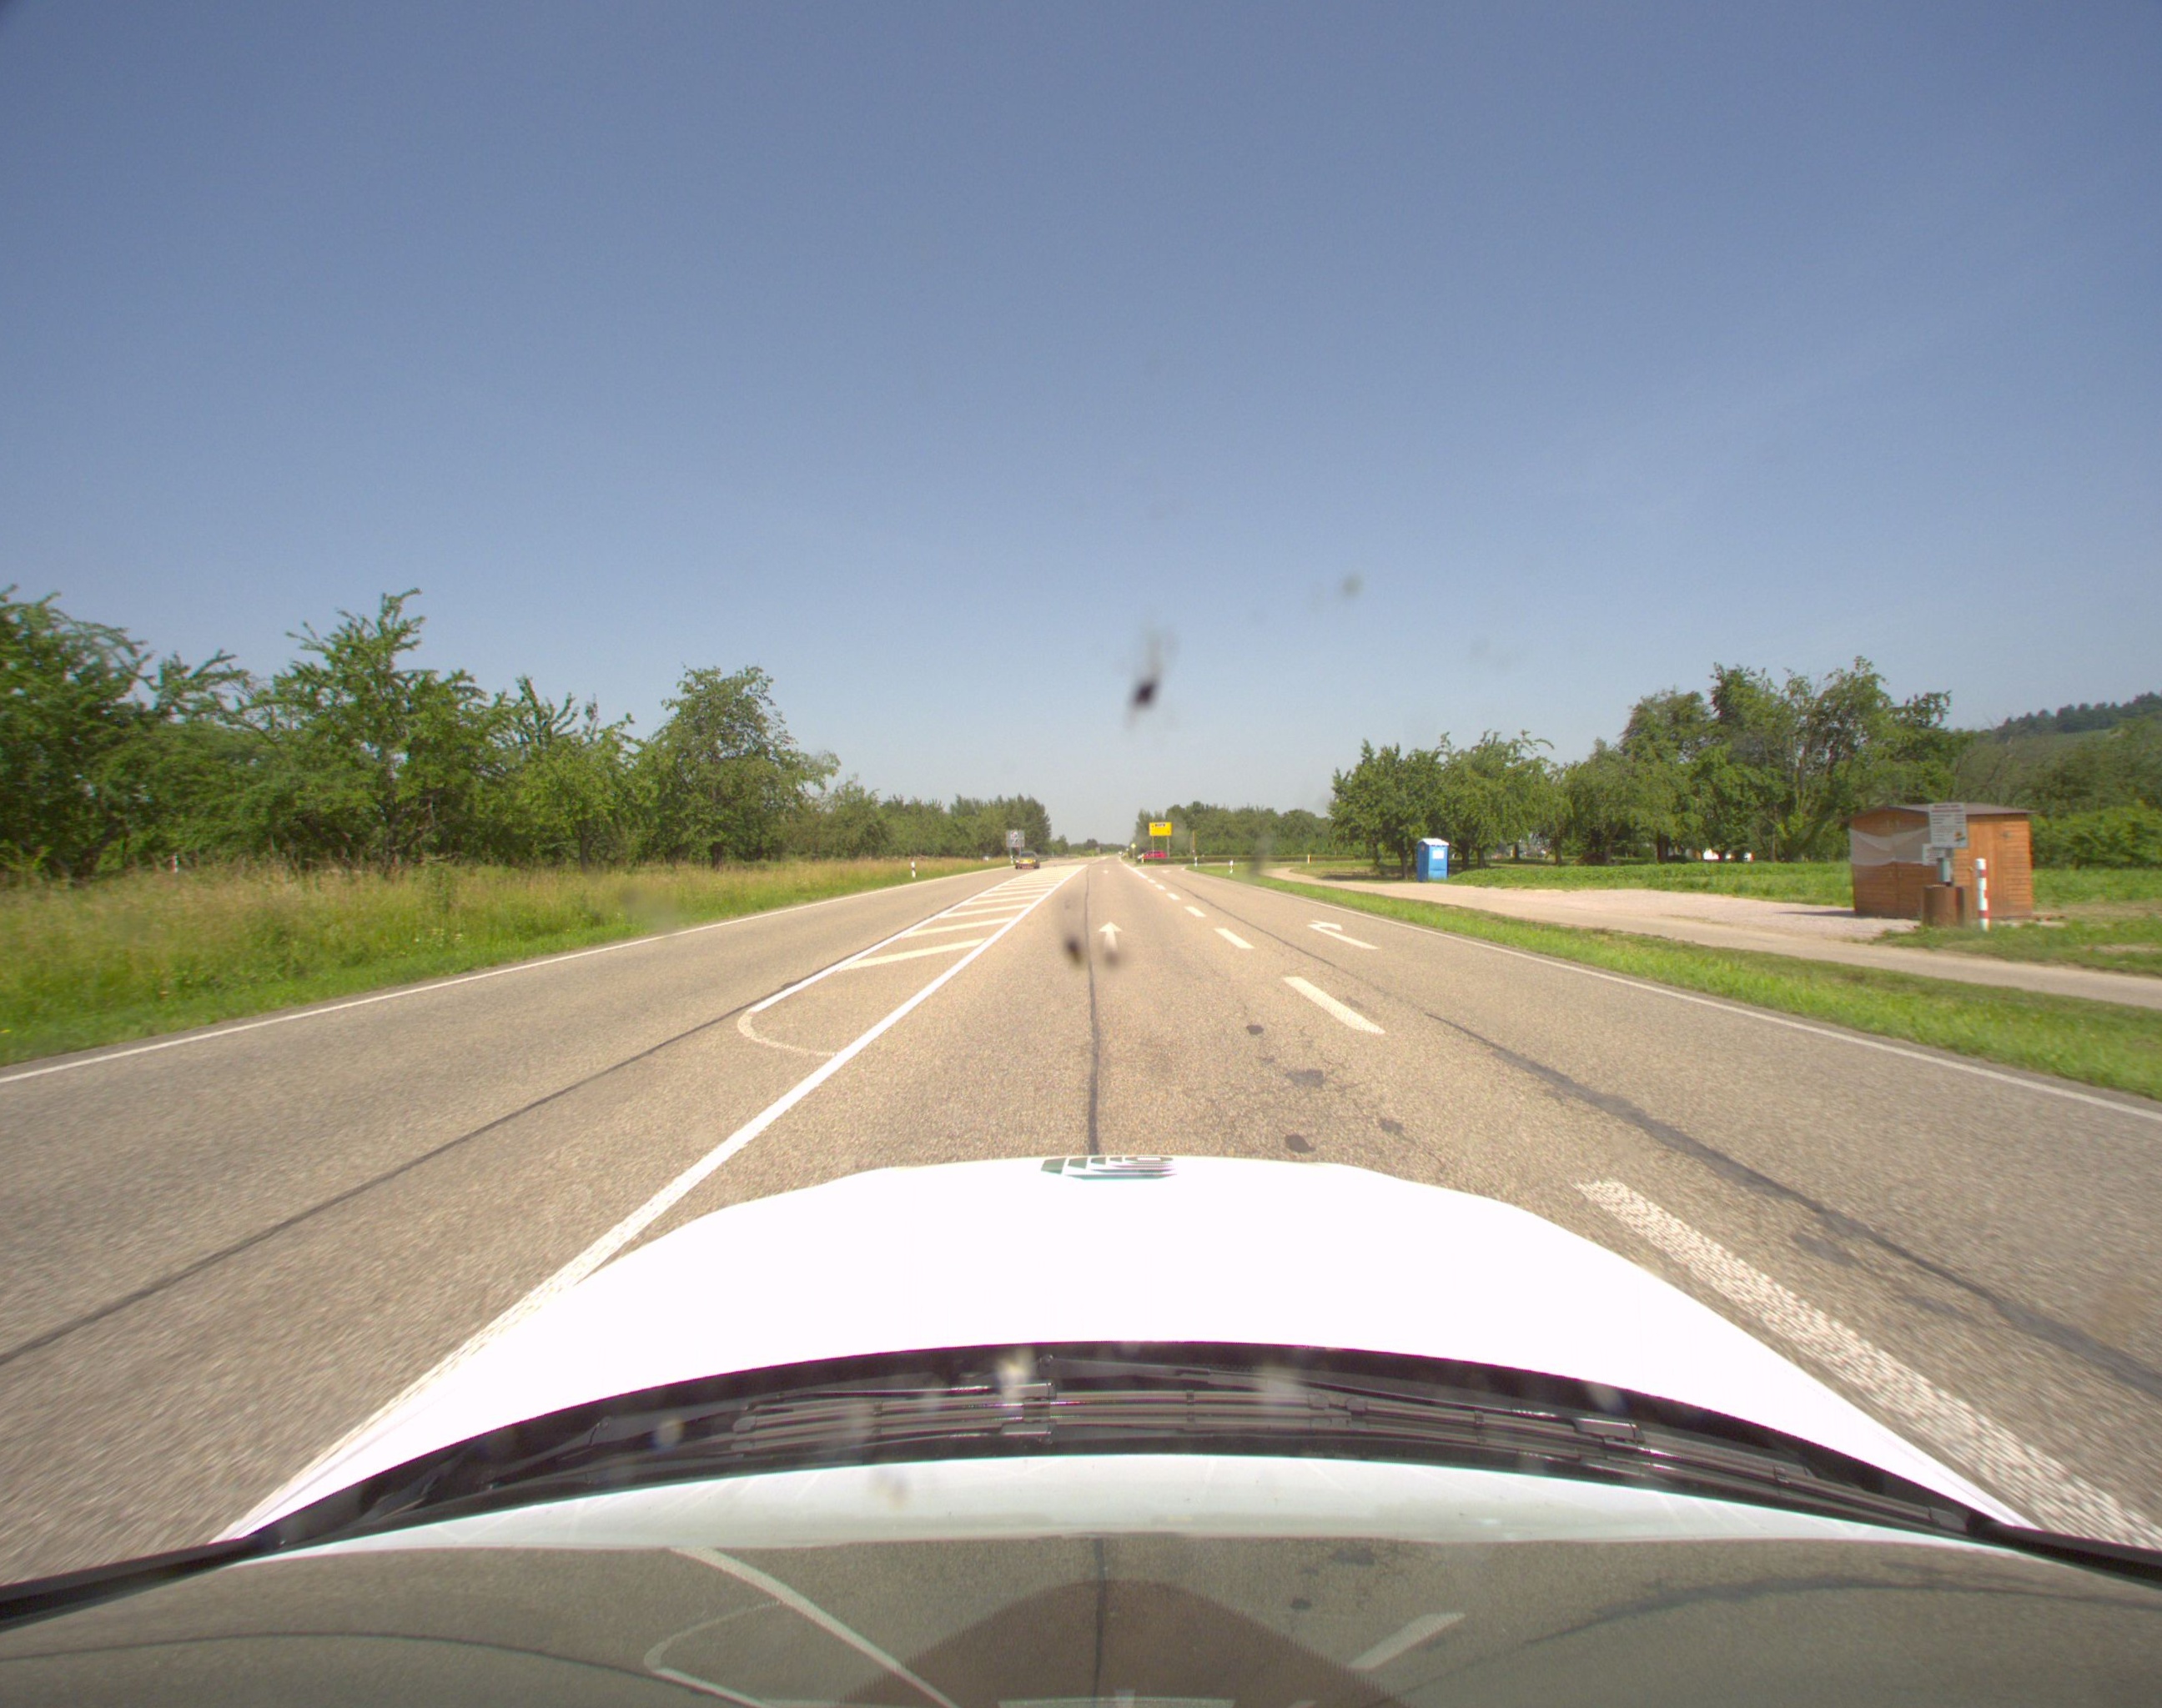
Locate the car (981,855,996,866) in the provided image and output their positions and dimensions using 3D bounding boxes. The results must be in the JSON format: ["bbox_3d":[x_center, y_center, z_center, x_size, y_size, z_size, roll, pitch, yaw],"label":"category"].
[{"bbox_3d":[-12.443,0.831,109.515,1.700,1.423,4.039,-1,0,-2],"label":"car"}]

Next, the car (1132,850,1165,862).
[{"bbox_3d":[8.226,0.244,99.521,3.747,1.493,1.663,0,0,-16],"label":"car"}]

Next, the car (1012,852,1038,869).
[{"bbox_3d":[-4.655,0.517,68.103,1.691,1.416,3.827,-1,0,2],"label":"car"}]
